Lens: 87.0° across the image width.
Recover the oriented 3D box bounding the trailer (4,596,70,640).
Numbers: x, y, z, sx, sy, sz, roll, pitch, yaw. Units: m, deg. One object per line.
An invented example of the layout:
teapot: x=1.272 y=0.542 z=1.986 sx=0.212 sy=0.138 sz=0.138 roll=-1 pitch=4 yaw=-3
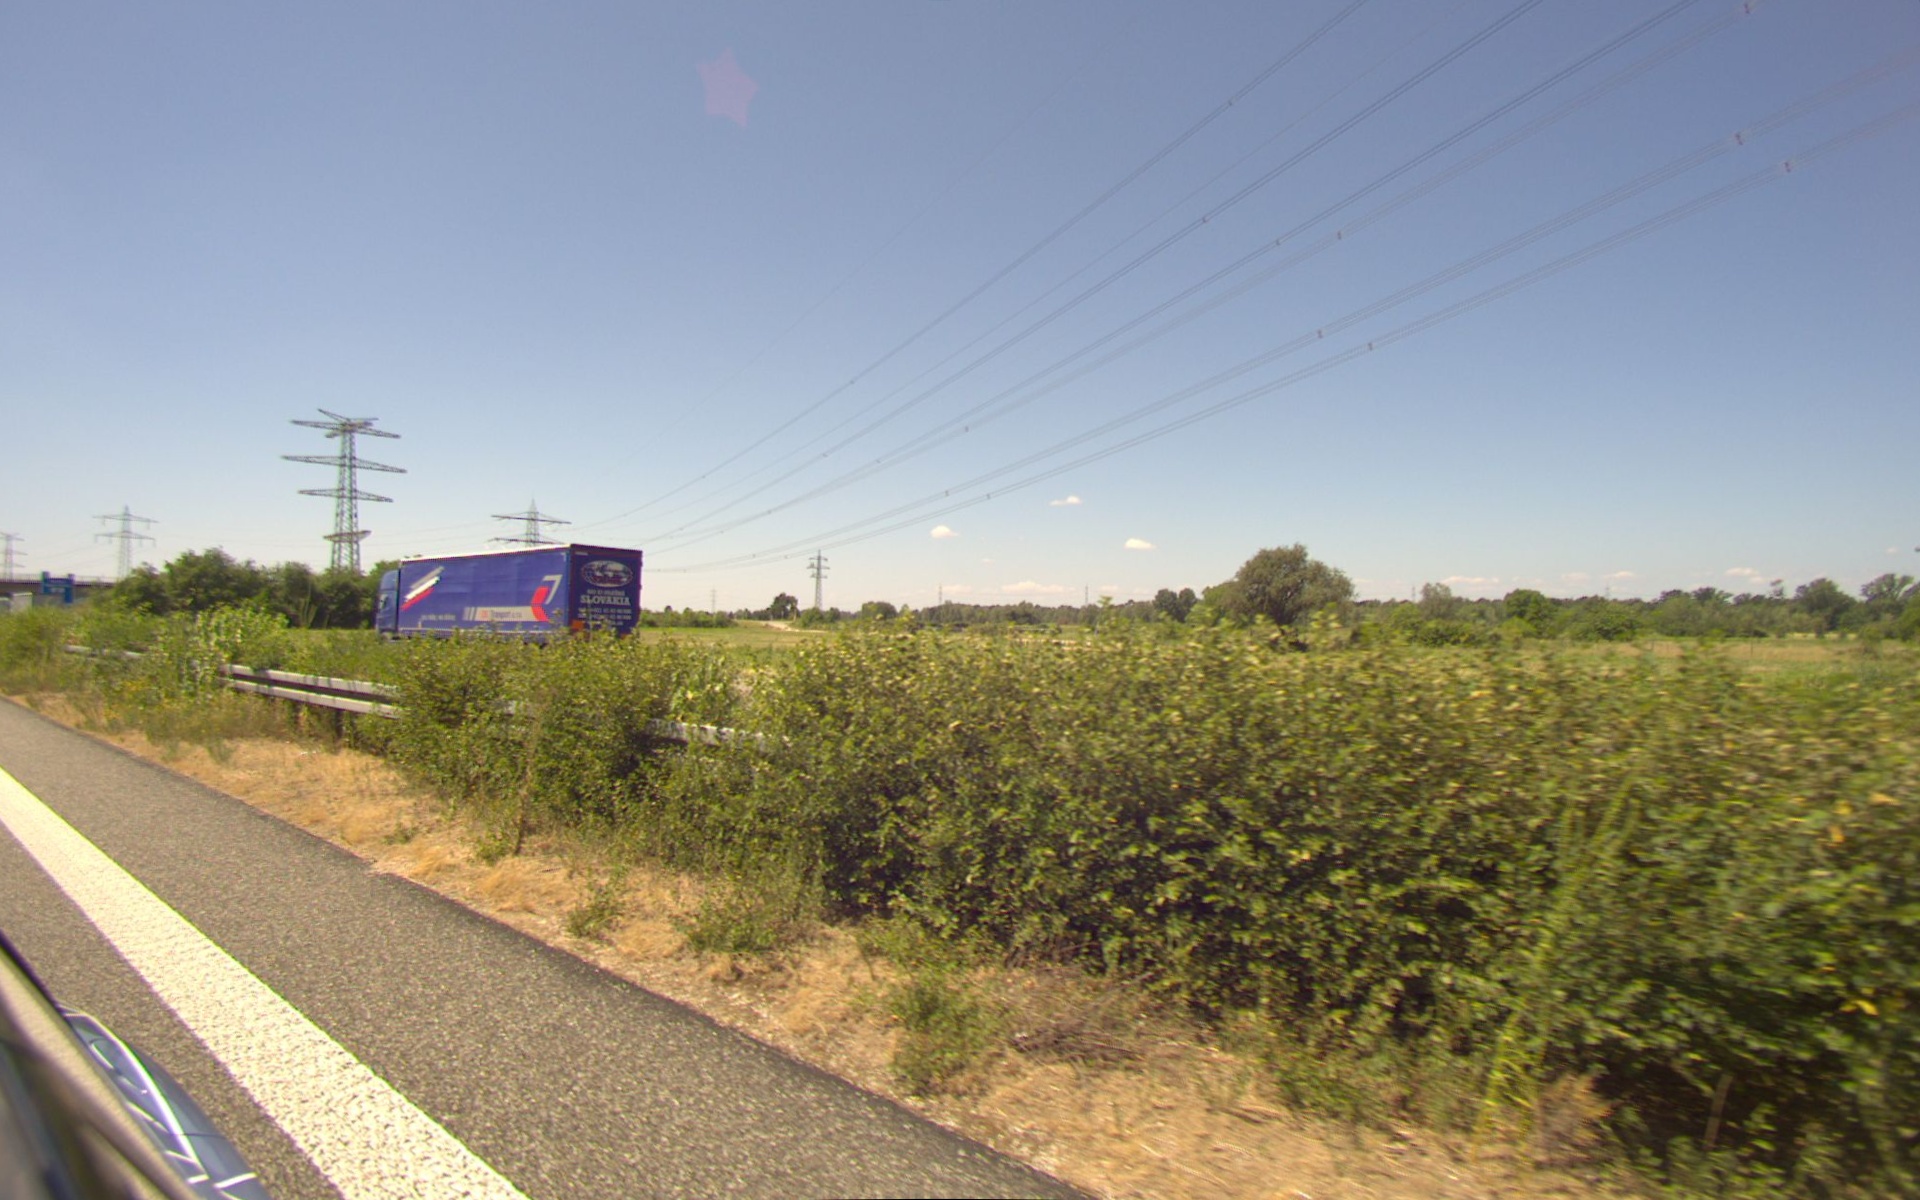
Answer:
trailer: x=-99.894 y=1.955 z=109.405 sx=14.310 sy=4.442 sz=3.333 roll=-1 pitch=-4 yaw=40

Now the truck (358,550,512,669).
truck: x=-21.395 y=0.473 z=41.104 sx=6.797 sy=4.441 sz=3.055 roll=-1 pitch=-4 yaw=41

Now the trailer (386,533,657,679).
trailer: x=-16.384 y=0.364 z=36.753 sx=14.224 sy=4.441 sz=3.055 roll=-1 pitch=-4 yaw=41
